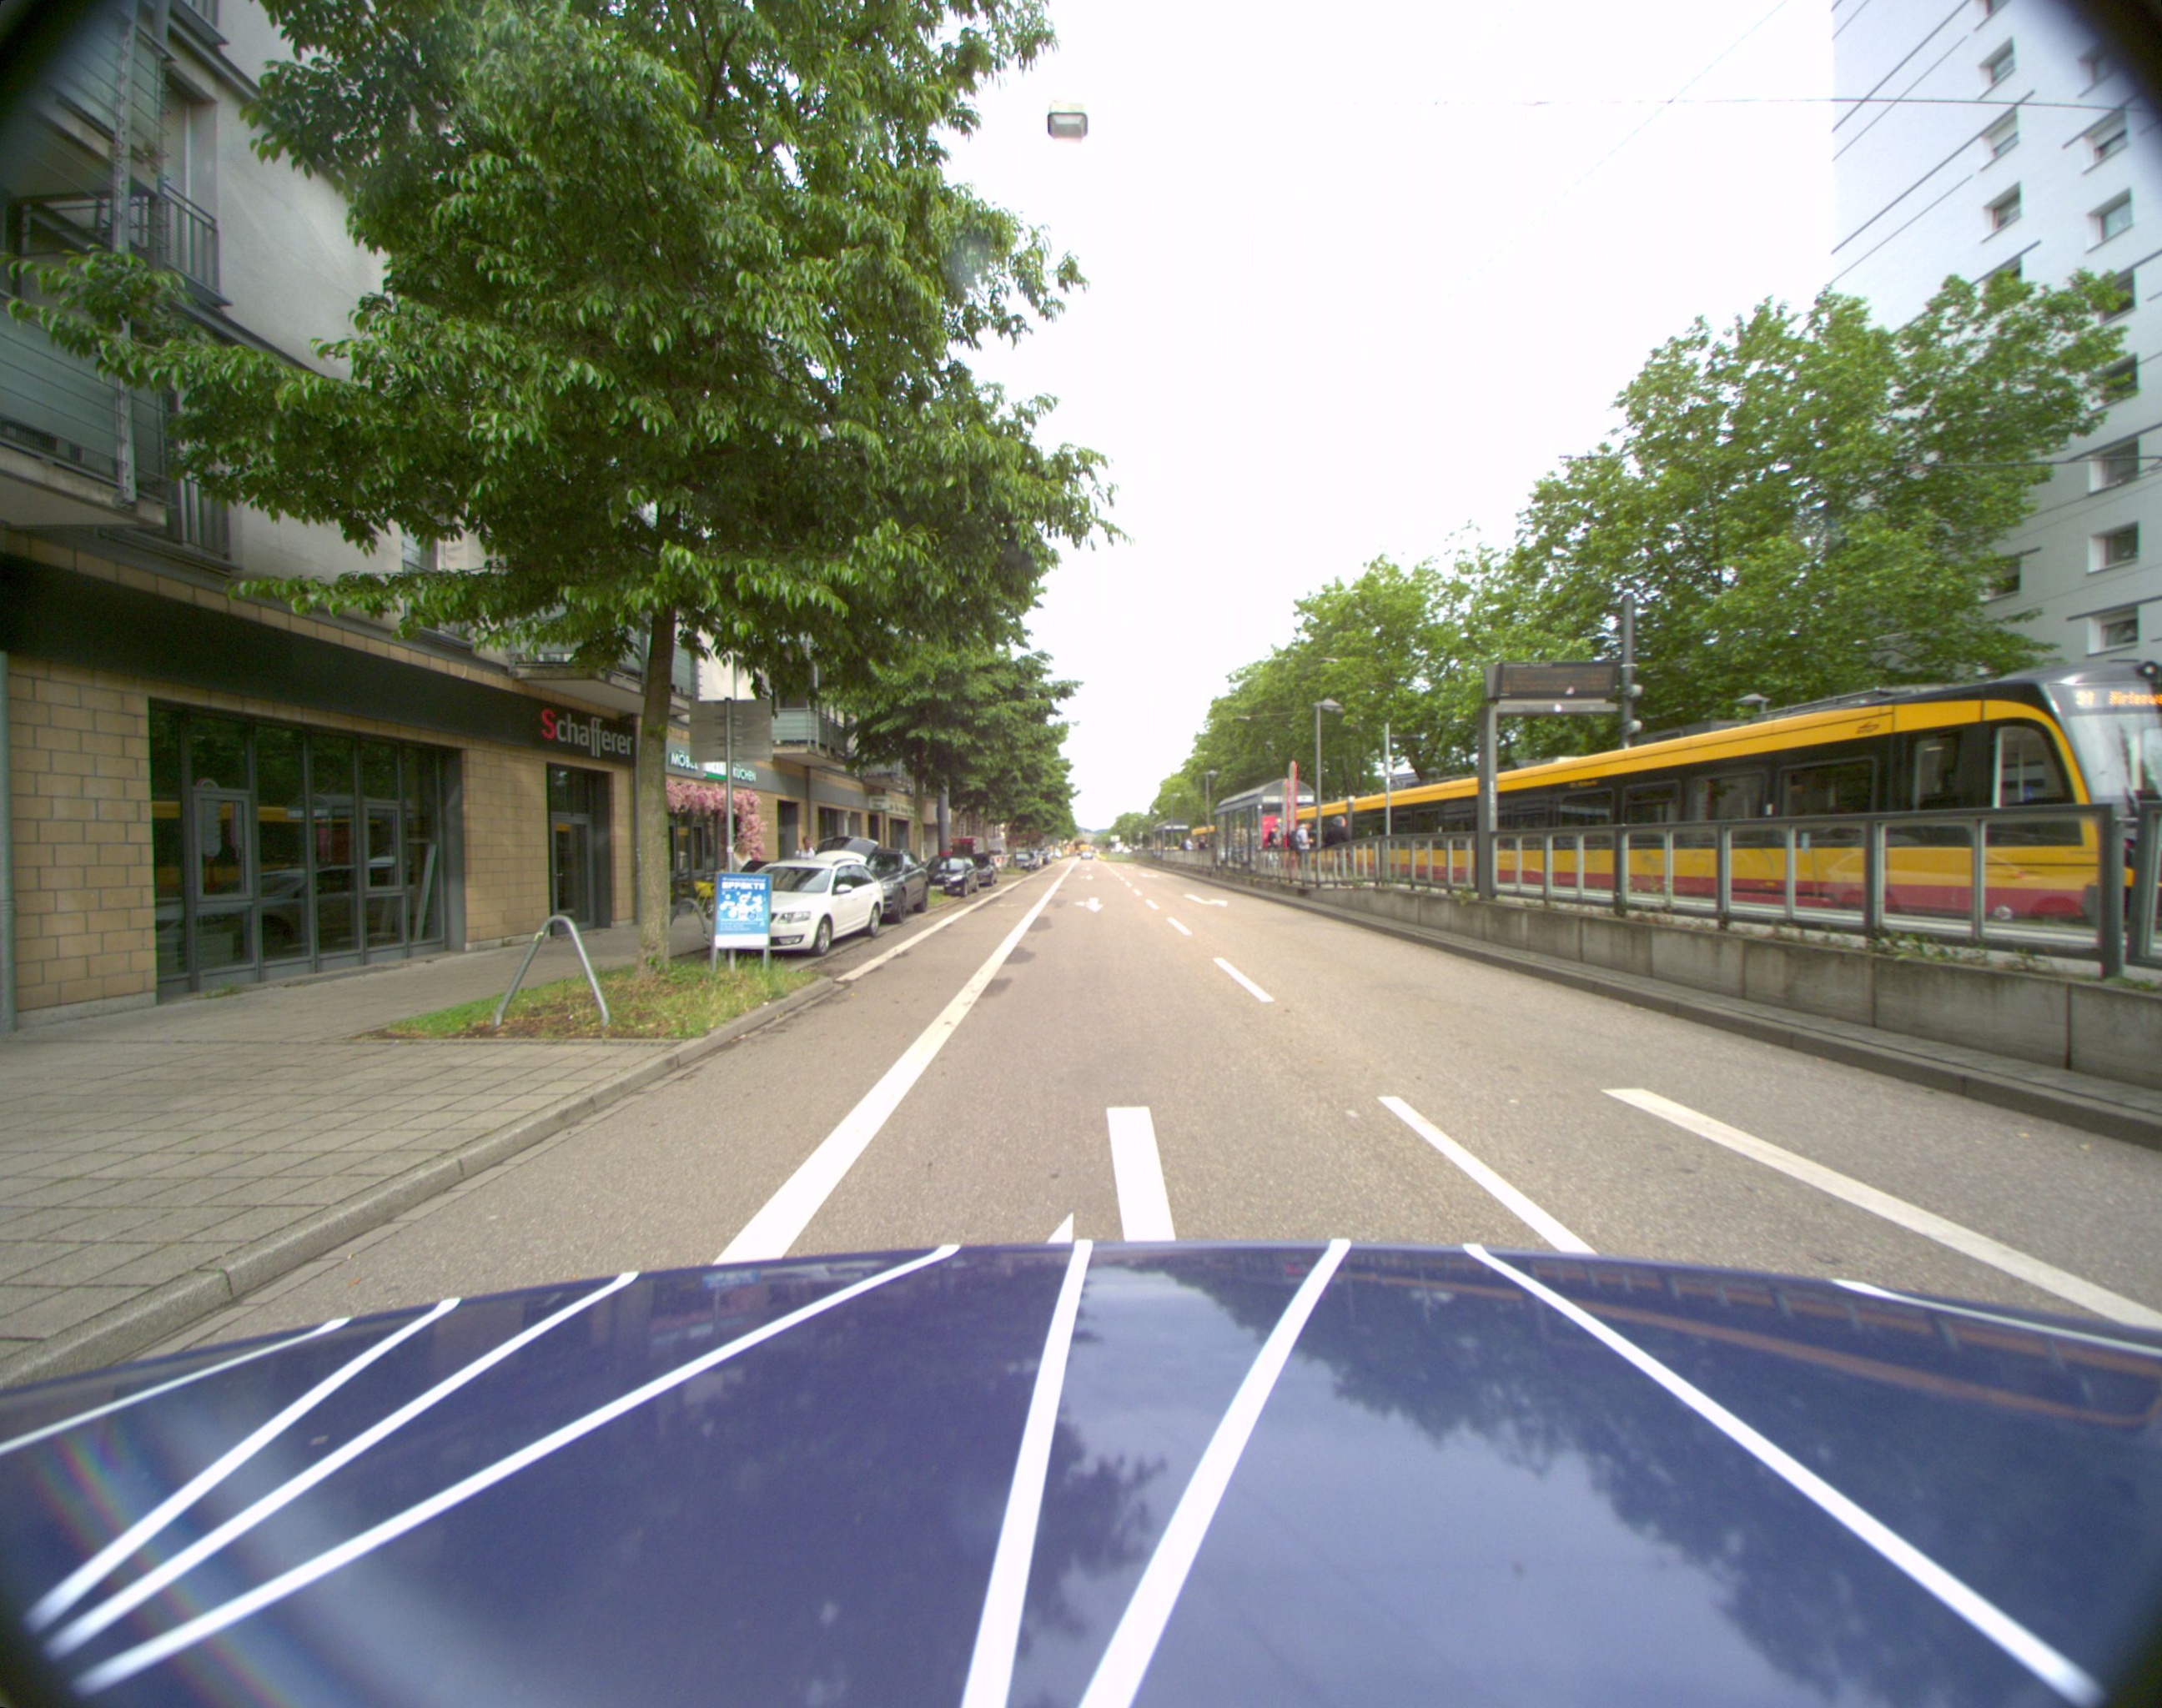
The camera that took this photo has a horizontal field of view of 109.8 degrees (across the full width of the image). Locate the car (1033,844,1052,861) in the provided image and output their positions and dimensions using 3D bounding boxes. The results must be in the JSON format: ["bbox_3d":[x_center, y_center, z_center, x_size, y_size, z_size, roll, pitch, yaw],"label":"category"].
[{"bbox_3d":[-3.969,-0.139,78.236,1.612,1.674,3.806,2,1,1],"label":"car"}]

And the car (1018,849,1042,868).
[{"bbox_3d":[-4.129,0.366,62.179,1.612,1.393,3.667,2,1,1],"label":"car"}]

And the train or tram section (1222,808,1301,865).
[{"bbox_3d":[13.328,-1.260,57.396,3.338,3.731,11.042,-2,1,1],"label":"train or tram section"}]

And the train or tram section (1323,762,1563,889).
[{"bbox_3d":[12.975,-0.931,29.307,3.338,3.731,12.547,-2,1,1],"label":"train or tram section"}]

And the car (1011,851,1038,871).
[{"bbox_3d":[-4.169,0.481,56.270,1.612,1.393,3.667,2,1,1],"label":"car"}]

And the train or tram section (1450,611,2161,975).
[{"bbox_3d":[12.784,-0.768,15.394,3.338,3.731,15.201,-2,1,1],"label":"train or tram section"}]

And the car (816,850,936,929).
[{"bbox_3d":[-4.719,0.743,18.018,1.738,1.601,3.798,2,1,1],"label":"car"}]

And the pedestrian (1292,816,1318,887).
[{"bbox_3d":[5.750,-0.064,19.563,0.475,1.794,0.605,-2,1,5],"label":"pedestrian"}]

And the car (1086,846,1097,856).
[{"bbox_3d":[1.593,-0.447,115.806,1.716,1.379,4.099,-2,1,1],"label":"car"}]

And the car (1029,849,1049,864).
[{"bbox_3d":[-3.975,0.210,72.465,1.612,1.393,3.667,2,1,1],"label":"car"}]

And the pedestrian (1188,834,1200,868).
[{"bbox_3d":[6.136,-0.178,41.355,0.530,1.794,0.606,-2,1,14],"label":"pedestrian"}]

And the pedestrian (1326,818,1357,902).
[{"bbox_3d":[5.686,0.120,16.598,0.521,1.794,0.605,-2,1,13],"label":"pedestrian"}]

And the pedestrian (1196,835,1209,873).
[{"bbox_3d":[5.843,-0.001,36.538,0.530,1.794,0.606,-2,1,14],"label":"pedestrian"}]

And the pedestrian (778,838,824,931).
[{"bbox_3d":[-5.734,0.612,15.576,0.656,1.873,0.599,-1,1,1],"label":"pedestrian"}]

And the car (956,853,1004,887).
[{"bbox_3d":[-4.561,0.686,34.751,1.612,1.393,3.667,2,1,1],"label":"car"}]

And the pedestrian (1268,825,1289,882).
[{"bbox_3d":[6.309,-0.028,24.214,0.474,1.794,0.606,-2,1,26],"label":"pedestrian"}]

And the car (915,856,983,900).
[{"bbox_3d":[-4.641,0.796,27.290,1.612,1.370,4.167,2,1,1],"label":"car"}]

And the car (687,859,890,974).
[{"bbox_3d":[-4.722,0.903,13.015,1.738,1.512,4.308,2,1,1],"label":"car"}]

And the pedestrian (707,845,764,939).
[{"bbox_3d":[-6.457,0.686,14.230,0.737,1.707,0.618,1,1,13],"label":"pedestrian"}]

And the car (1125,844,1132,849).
[{"bbox_3d":[14.328,-2.212,231.373,1.716,1.379,4.098,-1,1,-1],"label":"car"}]

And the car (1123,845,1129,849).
[{"bbox_3d":[14.722,-2.210,246.822,1.715,1.379,4.099,-1,1,2],"label":"car"}]

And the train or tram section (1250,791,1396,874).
[{"bbox_3d":[13.128,-1.099,43.724,3.338,3.731,16.247,-2,1,1],"label":"train or tram section"}]
